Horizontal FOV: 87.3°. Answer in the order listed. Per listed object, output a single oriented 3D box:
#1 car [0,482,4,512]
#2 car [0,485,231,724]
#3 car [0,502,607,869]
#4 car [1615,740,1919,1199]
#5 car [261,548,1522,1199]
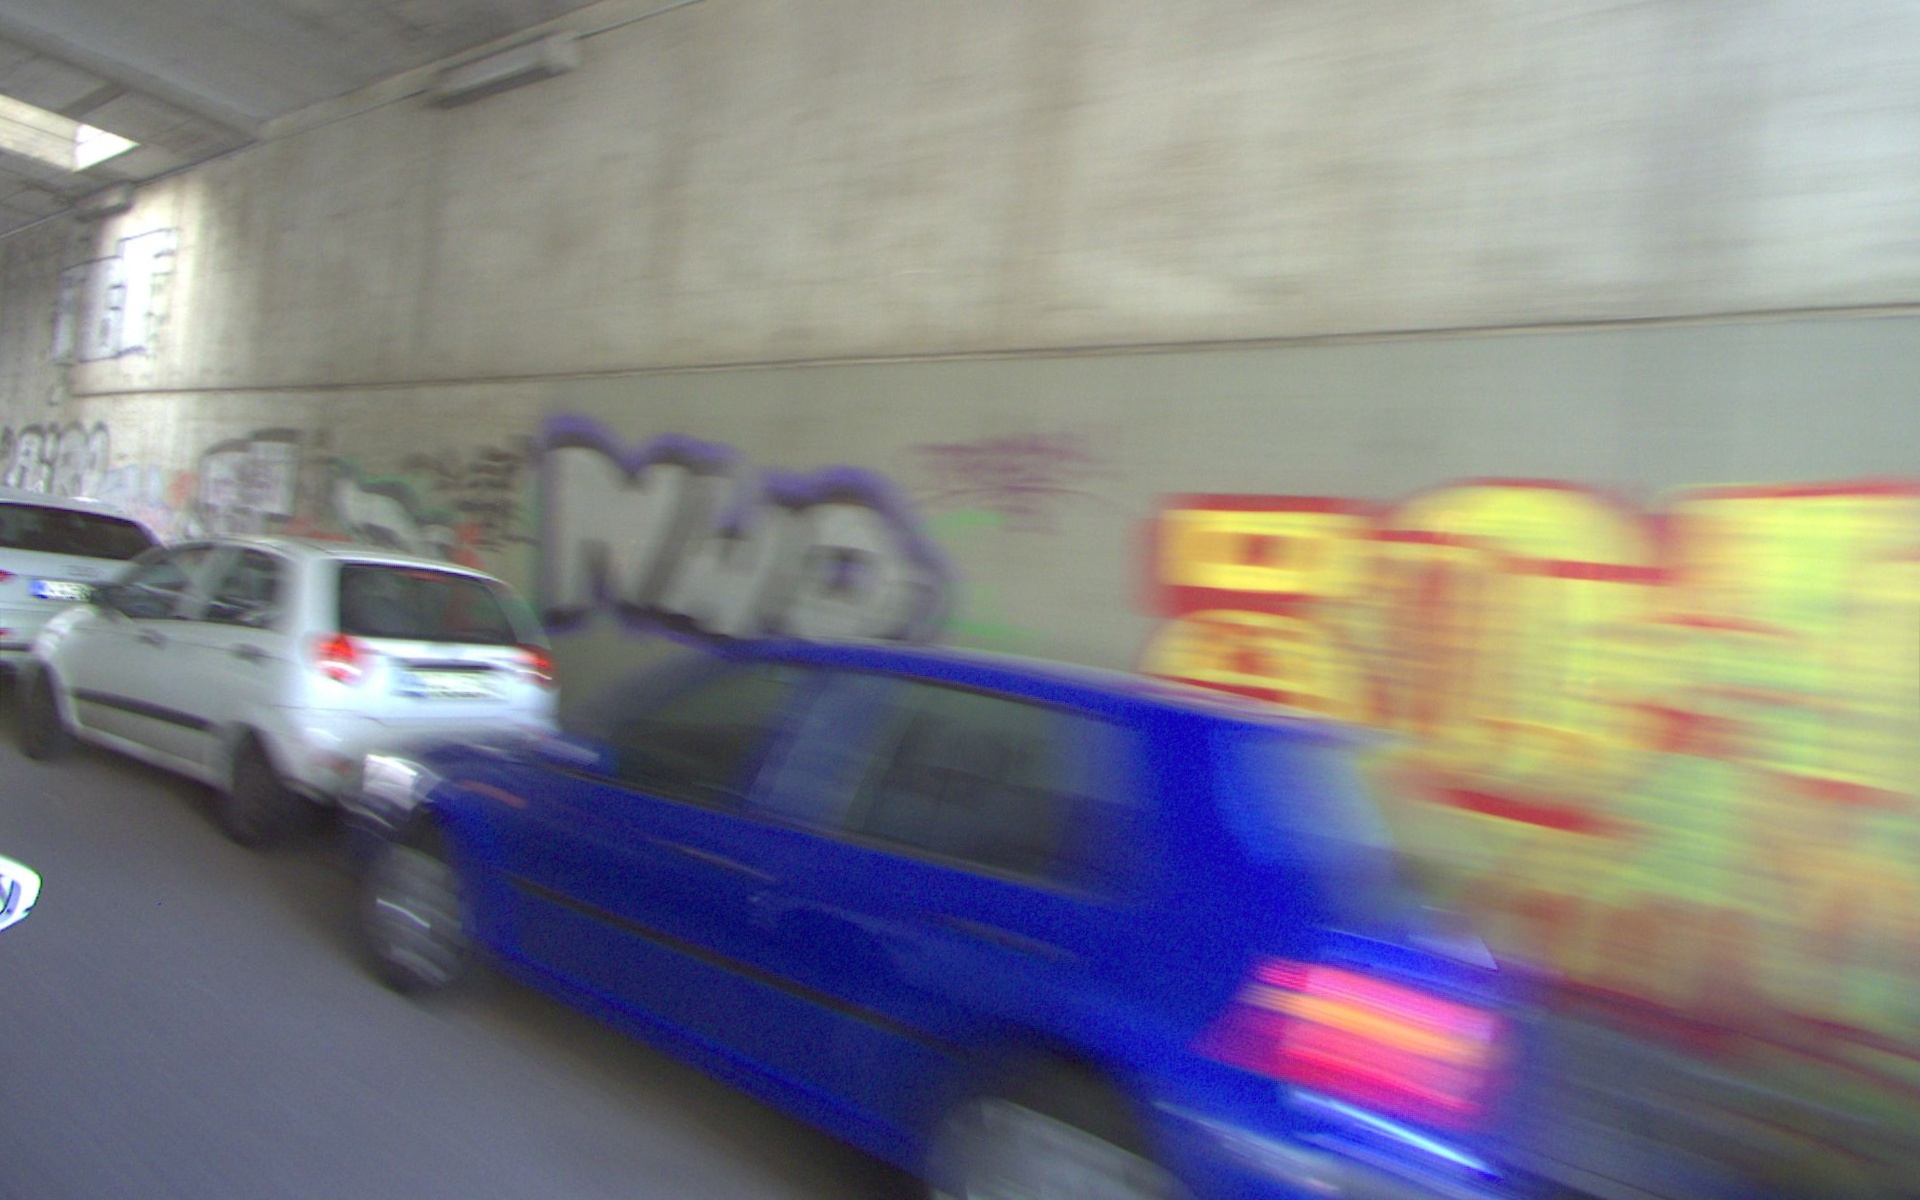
[{"bbox_3d":[-12.439,-0.703,10.960,4.299,1.686,1.855,7,-1,33],"label":"car"},{"bbox_3d":[-7.832,-0.111,7.967,4.086,1.565,1.732,6,-1,30],"label":"car"},{"bbox_3d":[-4.092,0.359,6.077,3.575,1.505,1.606,6,-1,29],"label":"car"},{"bbox_3d":[3.357,1.213,0.929,4.535,1.449,1.854,6,-3,35],"label":"car"},{"bbox_3d":[-0.440,0.752,3.495,3.997,1.428,1.763,6,-1,32],"label":"car"}]
